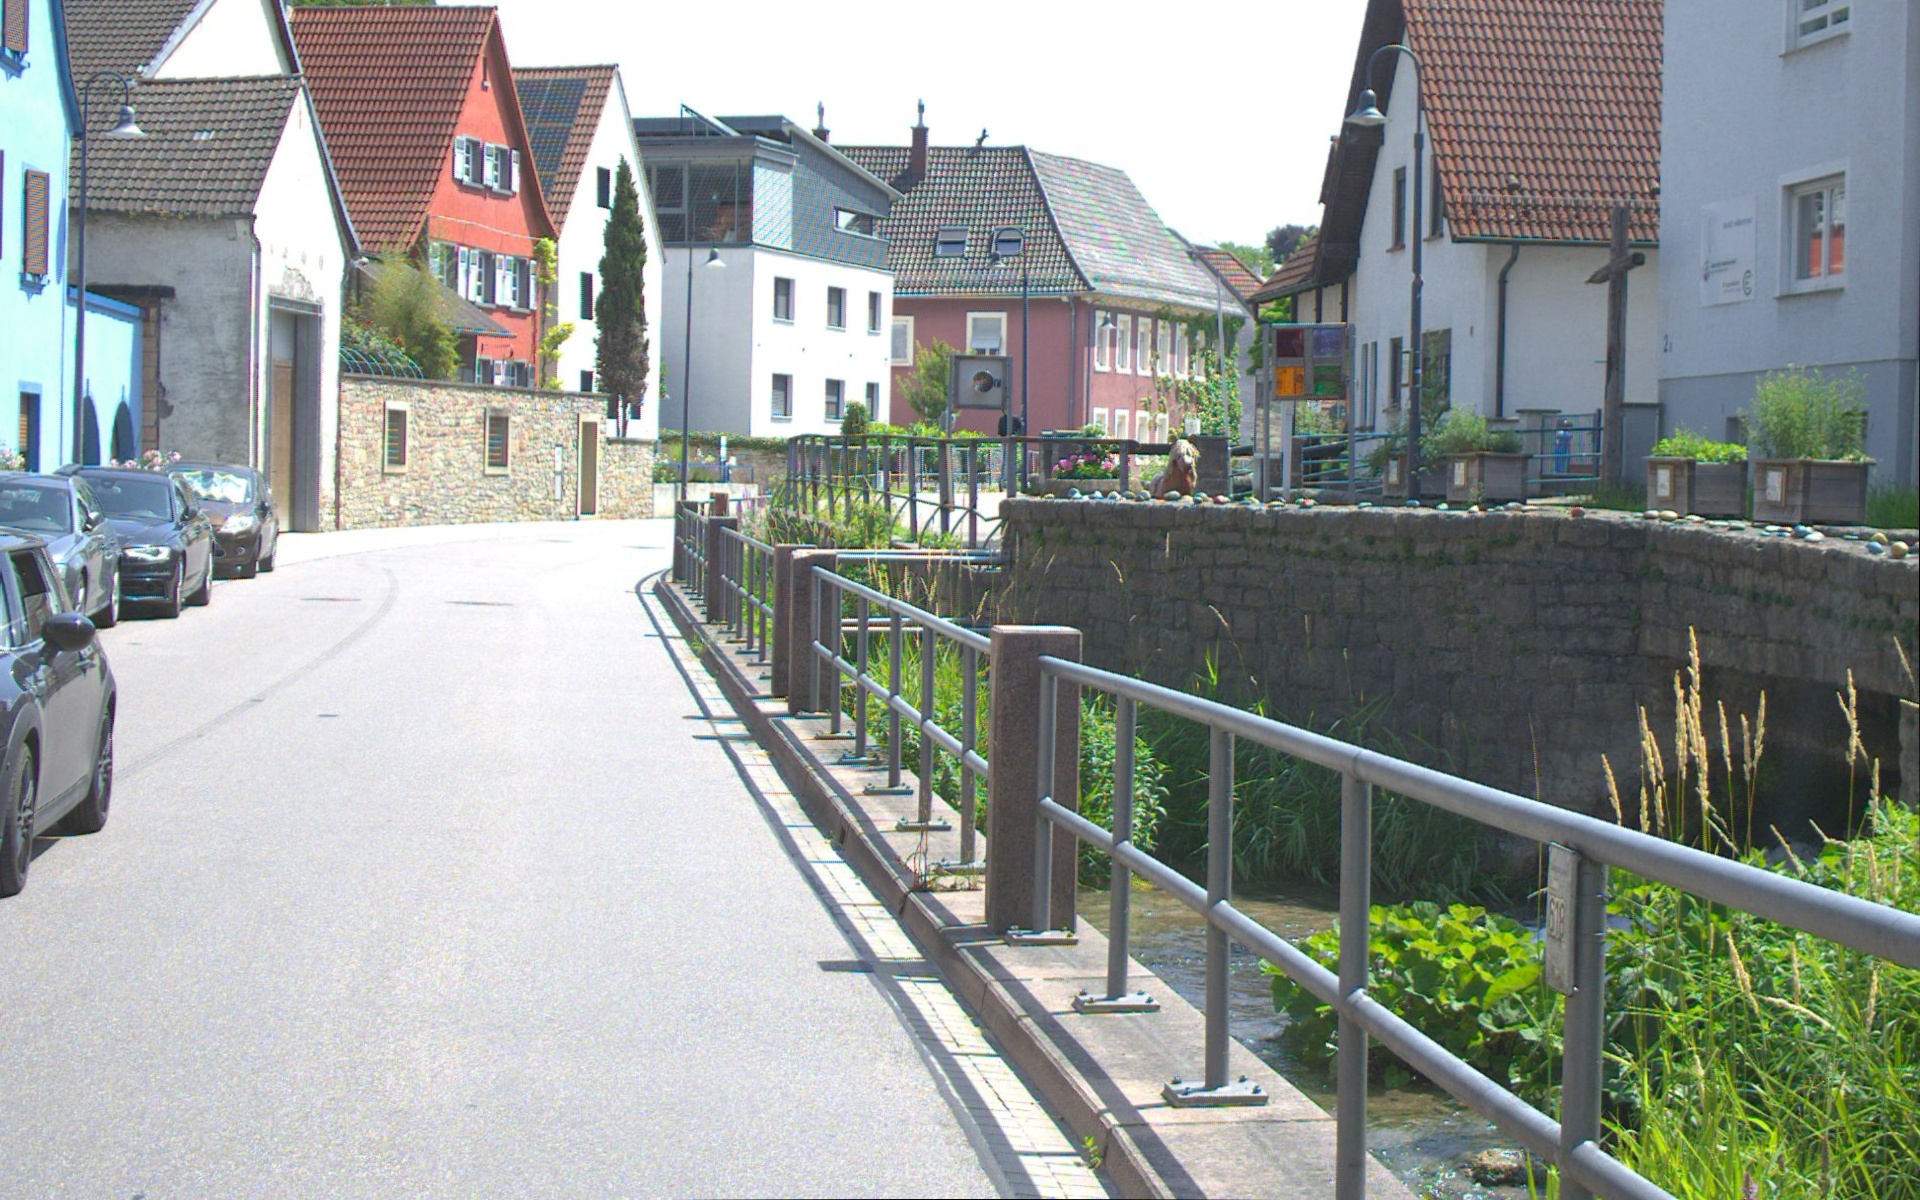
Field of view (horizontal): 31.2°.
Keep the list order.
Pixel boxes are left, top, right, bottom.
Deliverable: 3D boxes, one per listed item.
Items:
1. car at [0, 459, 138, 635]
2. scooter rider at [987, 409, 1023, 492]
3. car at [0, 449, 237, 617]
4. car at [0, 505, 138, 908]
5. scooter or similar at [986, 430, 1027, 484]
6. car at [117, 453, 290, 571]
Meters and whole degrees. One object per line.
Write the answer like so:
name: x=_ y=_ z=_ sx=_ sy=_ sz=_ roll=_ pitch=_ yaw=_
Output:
car: x=-8.709 y=-0.534 z=31.167 sx=1.956 sy=1.460 sz=4.547 roll=2 pitch=2 yaw=-8
scooter rider: x=0.953 y=-3.165 z=72.854 sx=0.641 sy=1.725 sz=0.554 roll=2 pitch=2 yaw=-6
car: x=-8.884 y=-0.757 z=36.175 sx=1.884 sy=1.459 sz=4.670 roll=4 pitch=3 yaw=-6
car: x=-4.620 y=0.313 z=14.617 sx=1.698 sy=1.460 sz=4.436 roll=2 pitch=1 yaw=-8
scooter or similar: x=0.976 y=-3.024 z=72.757 sx=0.641 sy=1.138 sz=1.812 roll=0 pitch=2 yaw=-6
car: x=-10.172 y=-1.200 z=46.430 sx=1.717 sy=1.524 sz=3.857 roll=0 pitch=2 yaw=-4
